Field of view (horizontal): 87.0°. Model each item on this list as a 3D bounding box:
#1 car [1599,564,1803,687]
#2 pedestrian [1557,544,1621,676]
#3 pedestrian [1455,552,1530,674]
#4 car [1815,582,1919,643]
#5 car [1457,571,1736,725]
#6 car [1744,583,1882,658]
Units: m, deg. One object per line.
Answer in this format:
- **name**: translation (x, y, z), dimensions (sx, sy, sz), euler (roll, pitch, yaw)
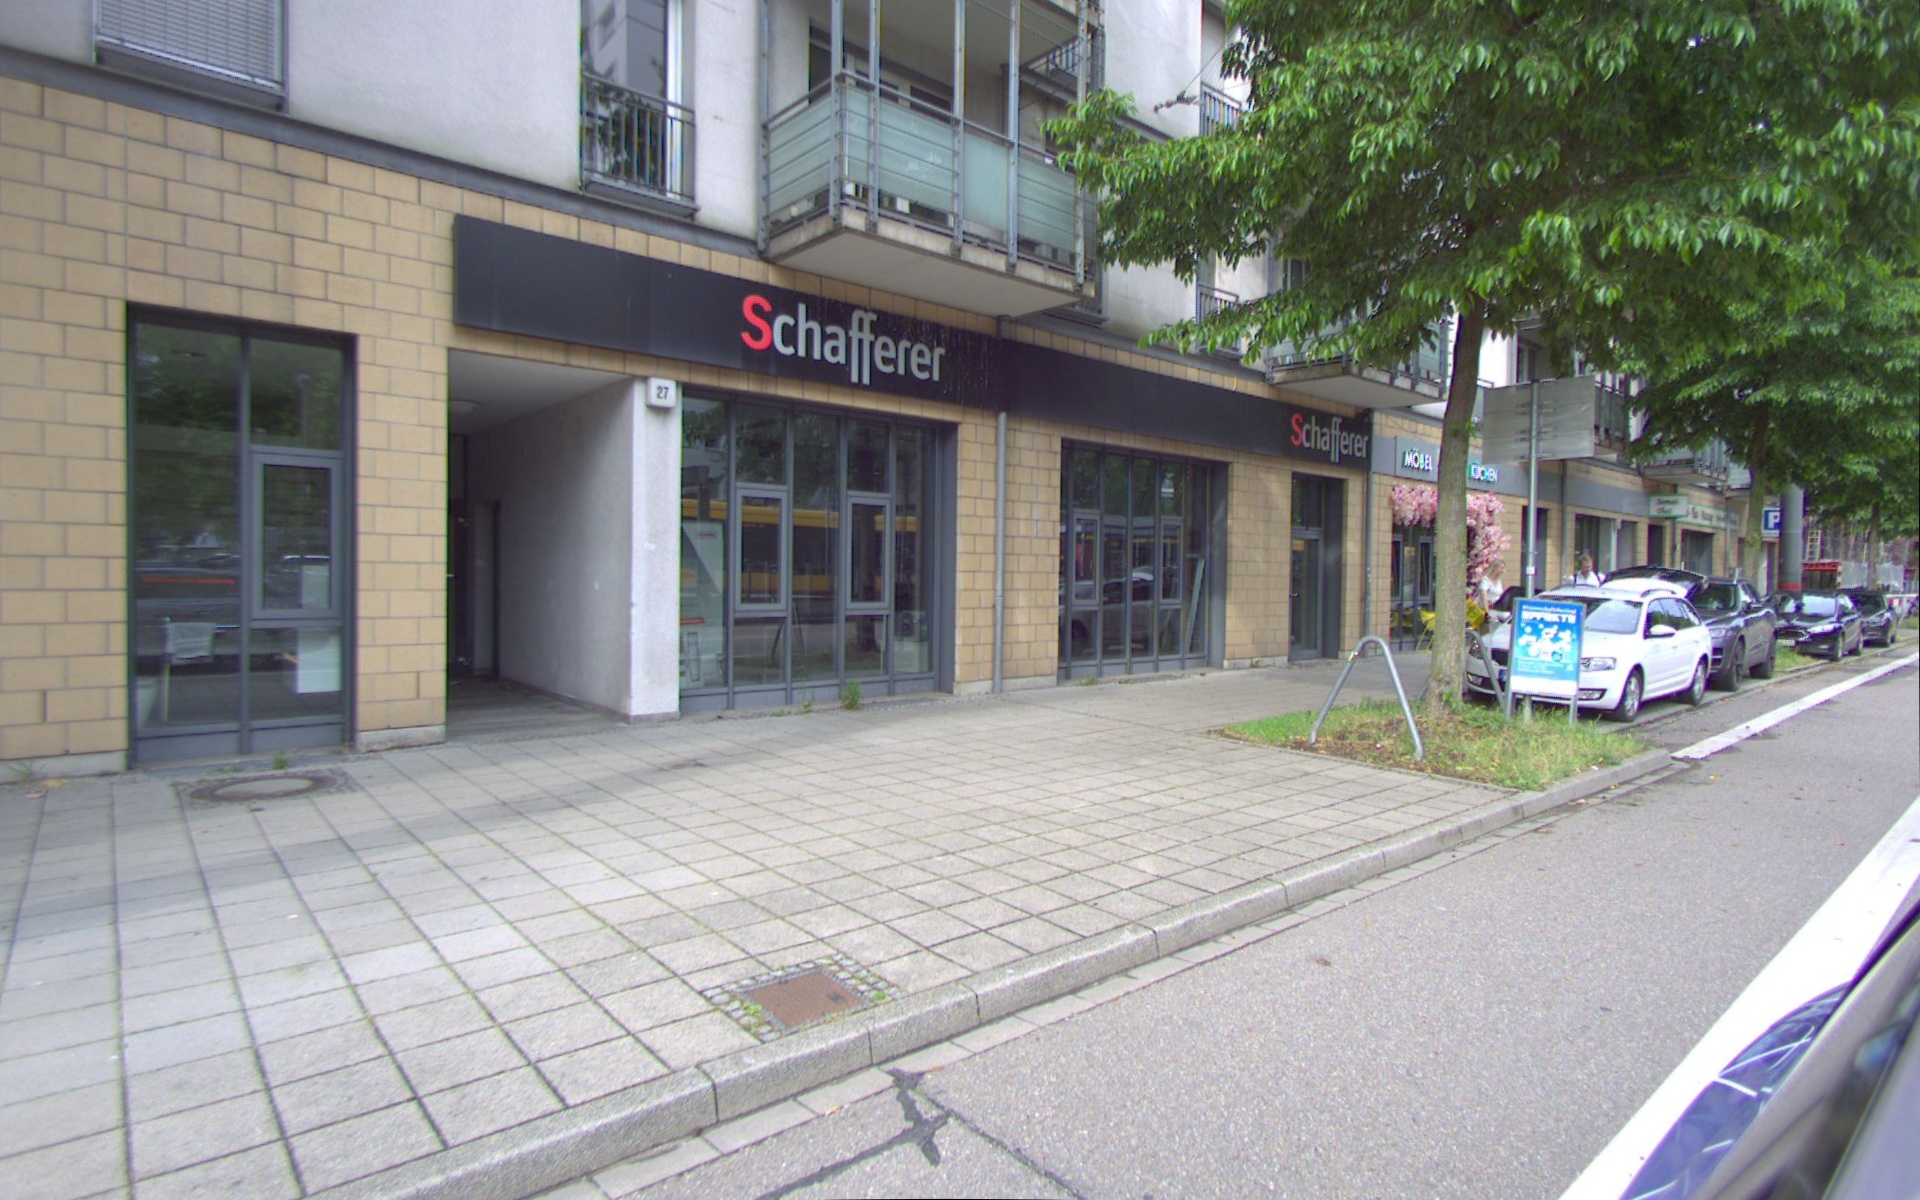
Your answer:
- **car**: translation (11.784, 0.314, 16.023), dimensions (3.732, 1.630, 1.738), euler (-1, 5, -41)
- **pedestrian**: translation (9.397, 0.136, 15.125), dimensions (0.588, 1.907, 0.656), euler (0, 1, -41)
- **pedestrian**: translation (7.860, 0.177, 14.955), dimensions (0.606, 1.738, 0.738), euler (0, 2, -36)
- **car**: translation (24.145, 0.283, 26.866), dimensions (3.603, 1.417, 1.612), euler (-1, 5, -41)
- **car**: translation (8.112, 0.470, 12.750), dimensions (4.233, 1.539, 1.738), euler (-1, 5, -41)
- **car**: translation (18.624, 0.382, 22.040), dimensions (4.095, 1.394, 1.612), euler (-1, 5, -41)
